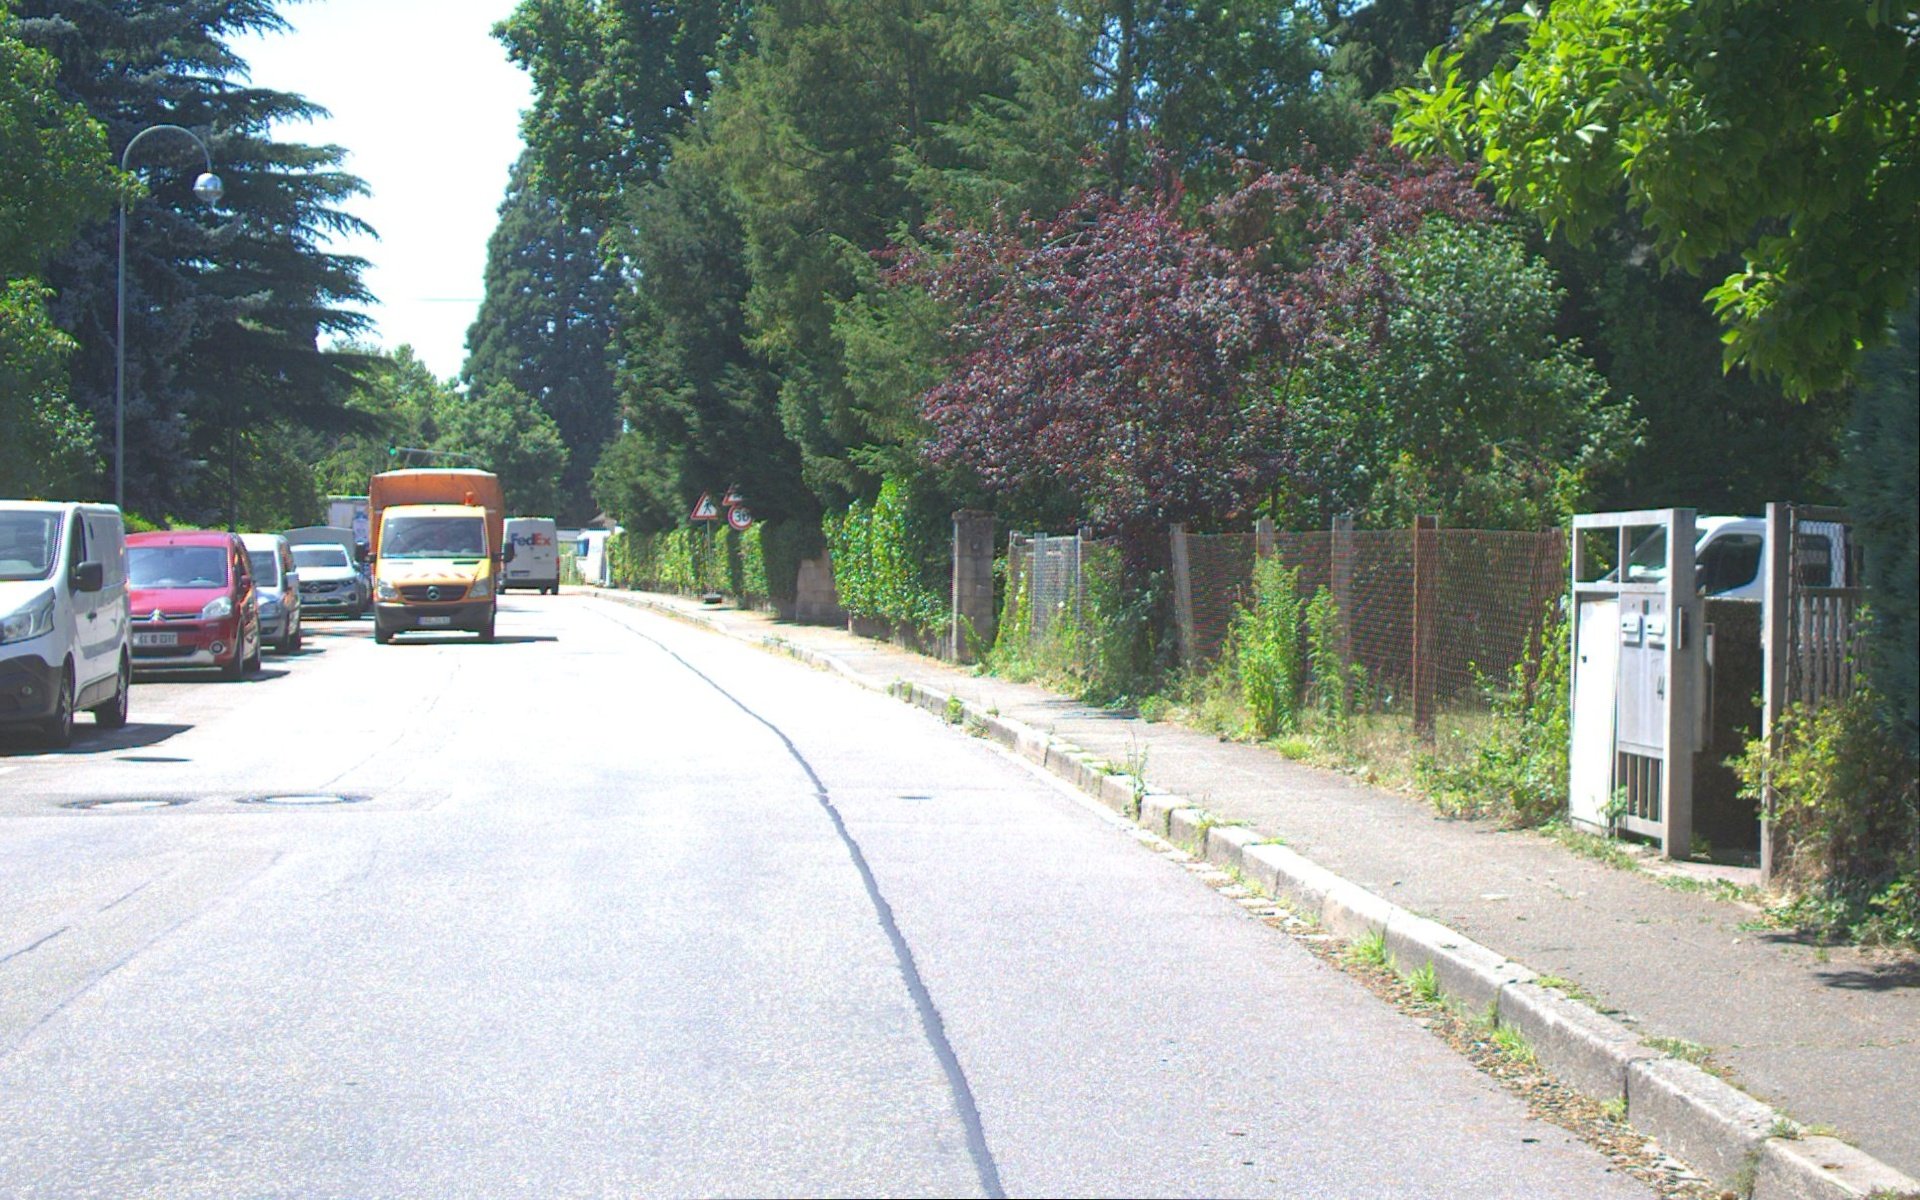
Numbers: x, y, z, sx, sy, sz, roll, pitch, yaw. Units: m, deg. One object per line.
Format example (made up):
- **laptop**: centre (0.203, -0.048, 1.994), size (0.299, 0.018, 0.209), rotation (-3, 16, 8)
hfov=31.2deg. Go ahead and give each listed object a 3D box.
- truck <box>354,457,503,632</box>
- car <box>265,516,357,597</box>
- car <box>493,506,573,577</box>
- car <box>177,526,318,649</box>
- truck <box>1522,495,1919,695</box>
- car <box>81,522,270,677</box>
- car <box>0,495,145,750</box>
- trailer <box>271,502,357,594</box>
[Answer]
- **truck**: centre (-8.987, -0.943, 58.372), size (2.372, 2.820, 5.660), rotation (0, 1, -8)
- **car**: centre (-14.168, -0.959, 75.215), size (1.850, 1.665, 4.714), rotation (-2, 1, -10)
- **car**: centre (-14.442, -1.988, 116.070), size (2.143, 2.307, 4.854), rotation (-1, 1, -14)
- **car**: centre (-10.608, -0.224, 51.418), size (1.647, 1.746, 4.355), rotation (-1, 1, -6)
- **truck**: centre (10.326, -0.026, 41.461), size (6.608, 2.160, 1.980), rotation (2, 2, -10)
- **car**: centre (-9.302, -0.051, 41.050), size (1.757, 1.721, 4.459), rotation (-1, 1, -7)
- **car**: centre (-7.862, 0.146, 27.684), size (1.886, 1.875, 4.981), rotation (0, 0, -6)
- **trailer**: centre (-14.922, -1.214, 79.588), size (1.847, 2.033, 4.164), rotation (-2, 1, -10)
